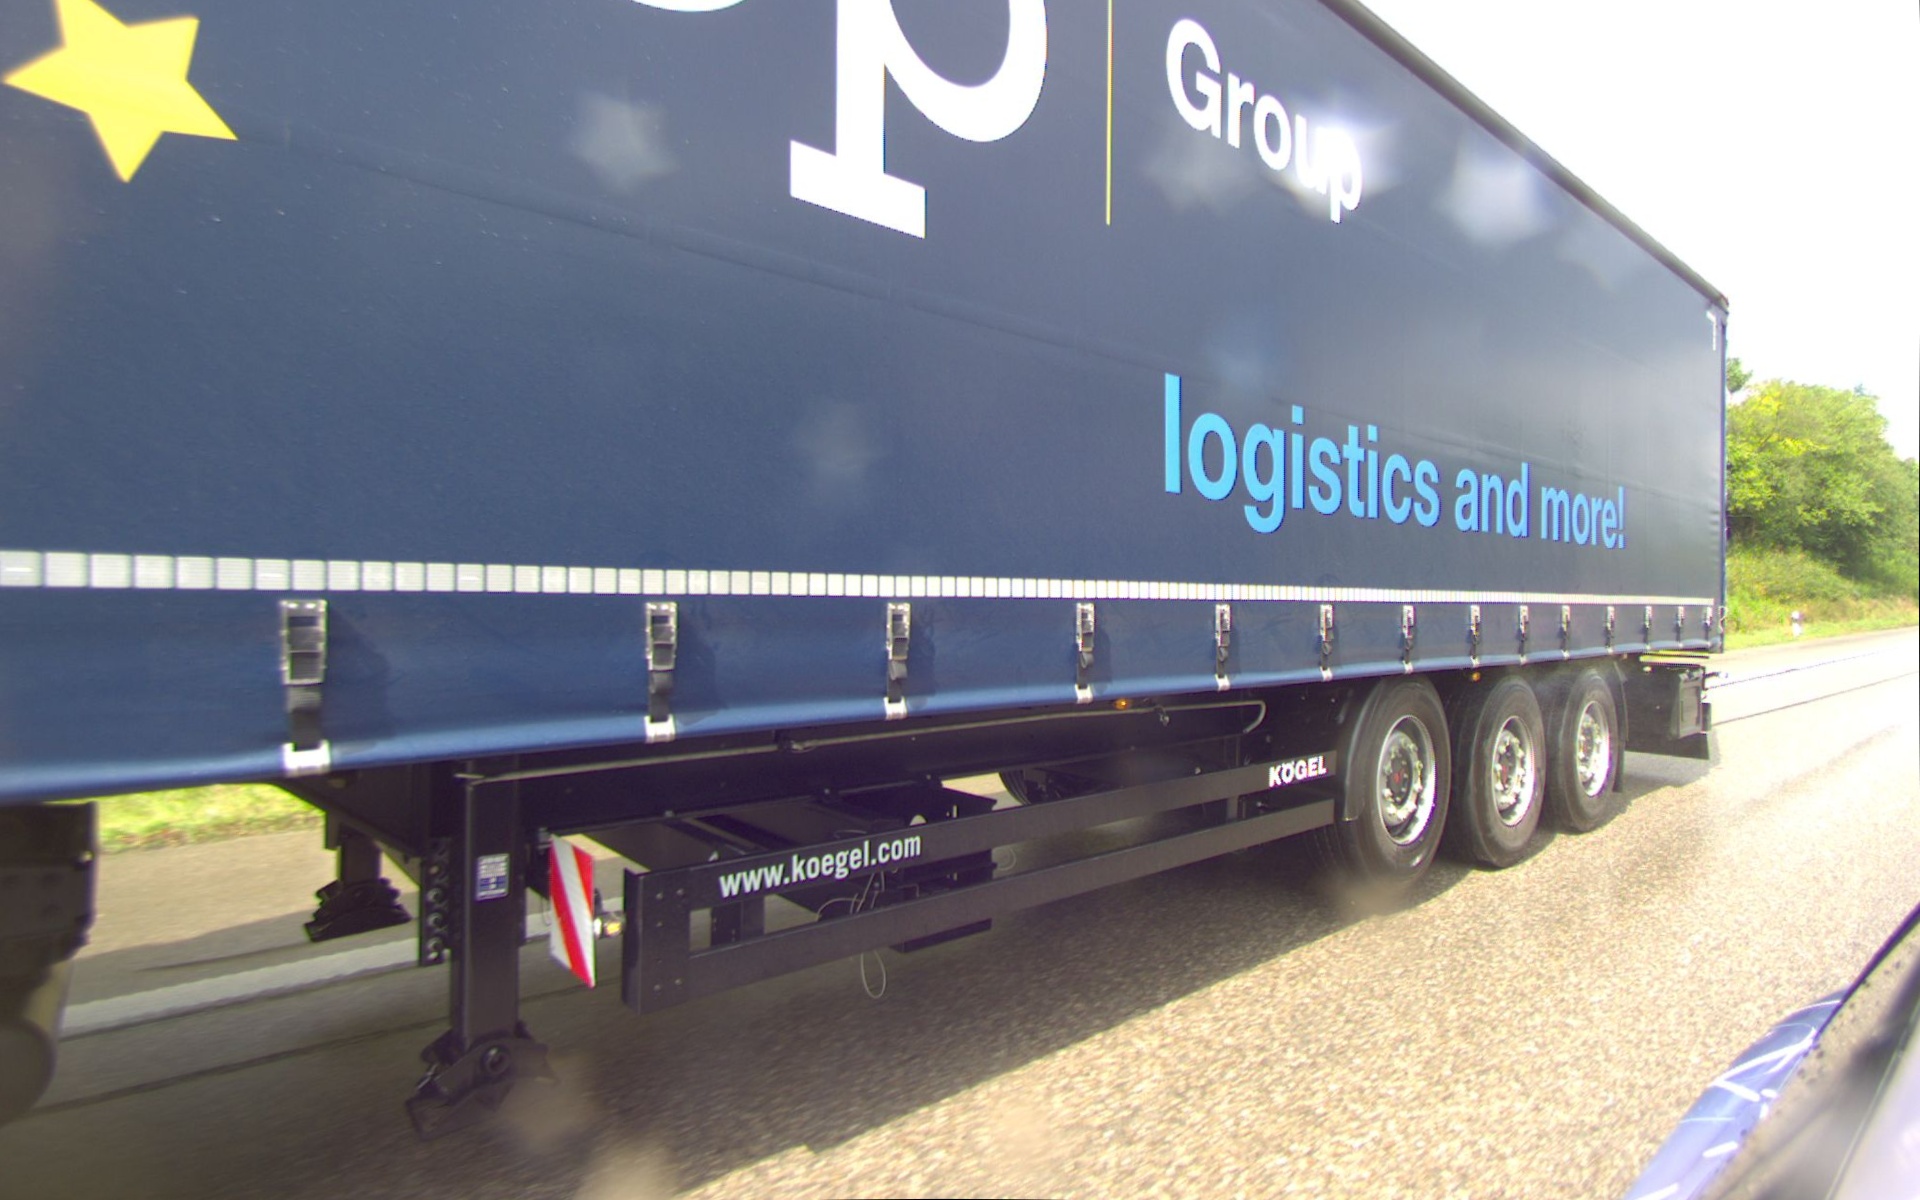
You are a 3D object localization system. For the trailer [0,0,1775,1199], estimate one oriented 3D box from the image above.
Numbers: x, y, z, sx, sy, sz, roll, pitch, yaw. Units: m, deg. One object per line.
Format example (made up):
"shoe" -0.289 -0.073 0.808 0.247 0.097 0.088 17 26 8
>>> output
"trailer" 0.746 -0.654 4.949 13.819 4.046 2.639 -1 0 -41

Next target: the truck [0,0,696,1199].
"truck" -4.114 -0.614 0.784 7.160 4.046 2.612 -1 0 -40
